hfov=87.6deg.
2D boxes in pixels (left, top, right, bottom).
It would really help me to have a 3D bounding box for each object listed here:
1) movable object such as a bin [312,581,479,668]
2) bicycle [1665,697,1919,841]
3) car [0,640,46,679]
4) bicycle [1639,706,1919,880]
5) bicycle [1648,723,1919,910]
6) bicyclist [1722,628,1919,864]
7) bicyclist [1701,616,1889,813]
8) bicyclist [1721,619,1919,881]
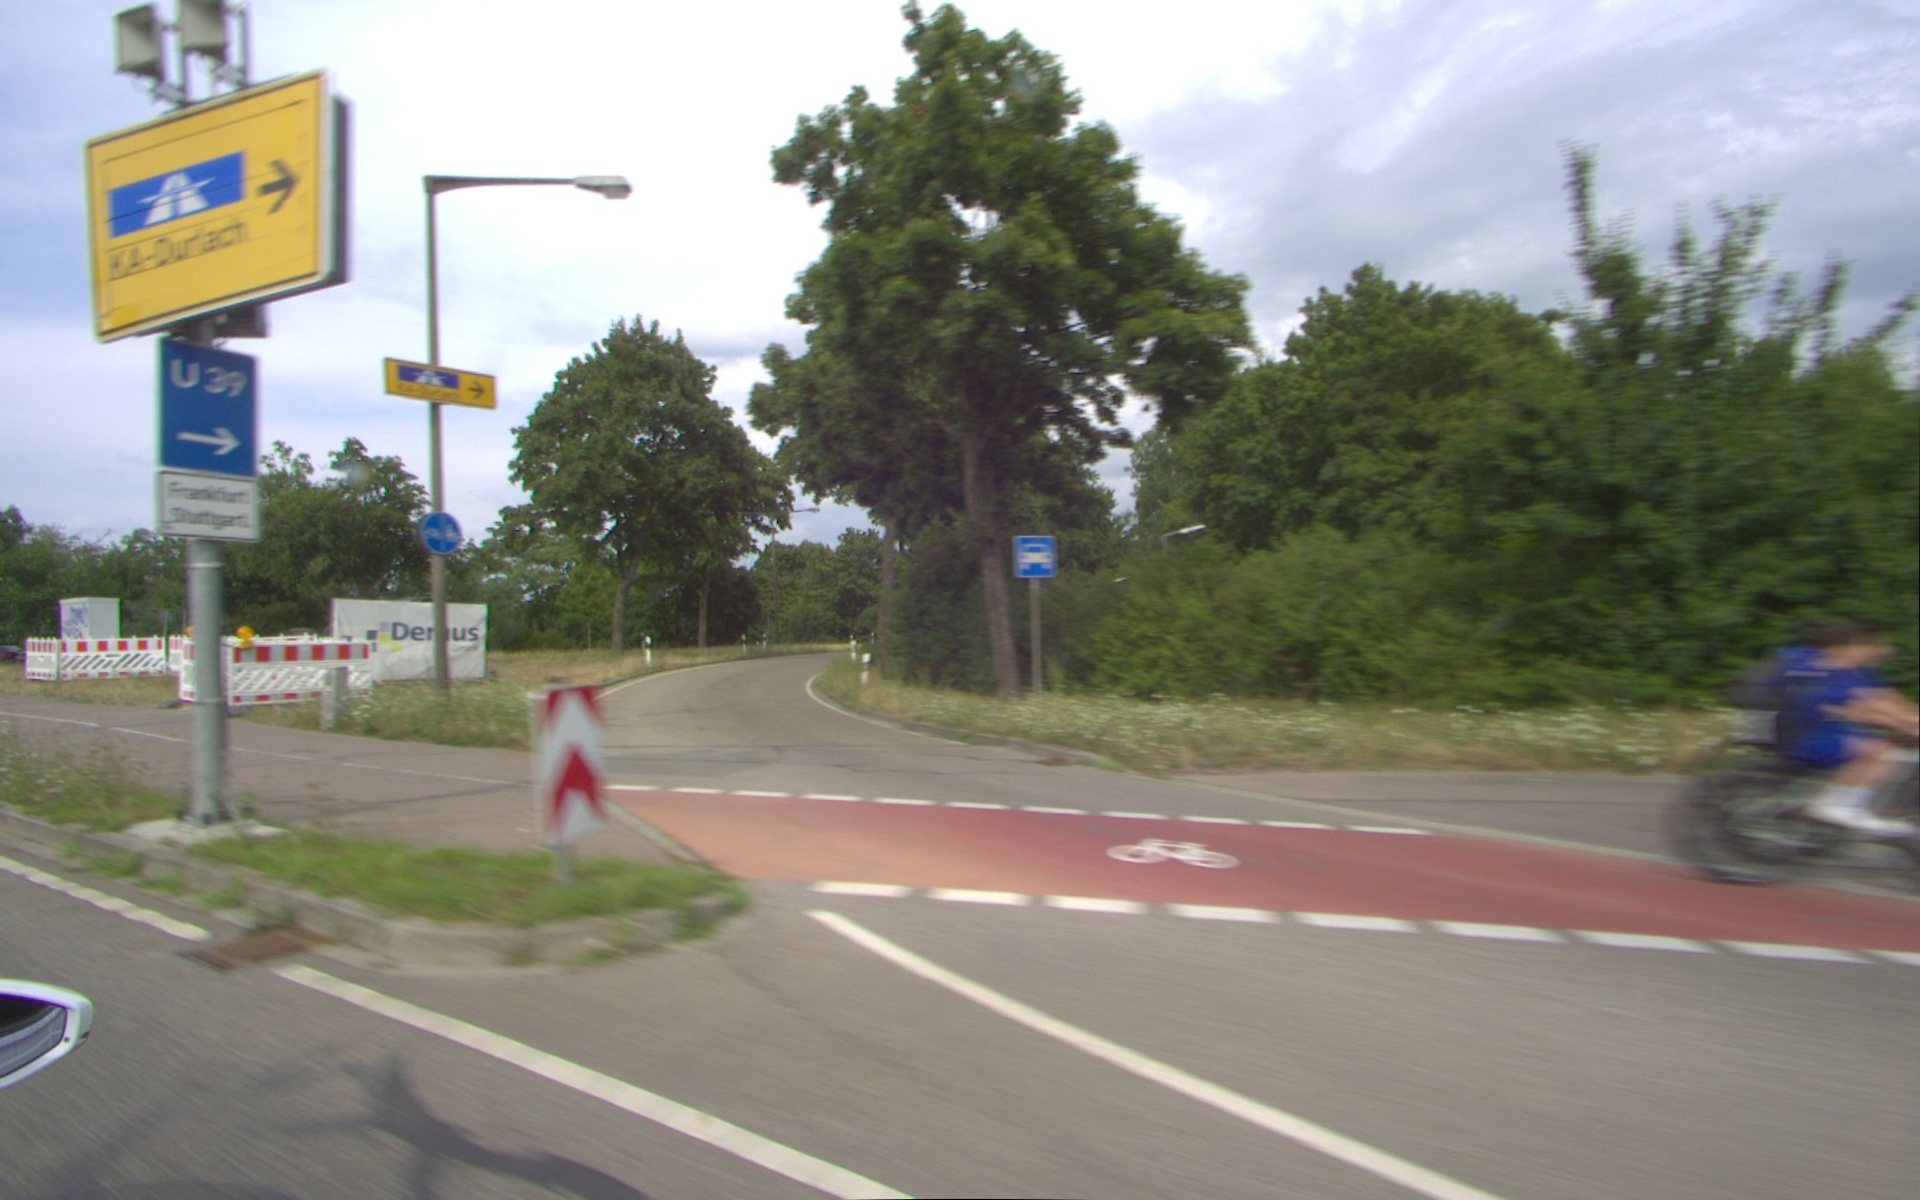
[{"bbox_3d":[-18.890,0.846,33.684,2.076,2.723,4.486,-2,-2,37],"label":"movable object such as a bin"},{"bbox_3d":[6.863,1.337,8.117,1.756,1.019,0.620,-1,1,19],"label":"bicycle"},{"bbox_3d":[-38.390,2.307,38.781,4.039,1.413,1.734,0,0,-13],"label":"car"},{"bbox_3d":[6.068,1.316,6.950,2.156,1.050,0.596,0,0,19],"label":"bicycle"},{"bbox_3d":[5.626,1.341,6.269,2.065,1.018,0.621,0,-3,19],"label":"bicycle"},{"bbox_3d":[6.053,0.971,6.992,0.941,1.537,0.742,-1,-1,18],"label":"bicyclist"},{"bbox_3d":[6.746,0.893,8.151,0.941,1.506,0.742,-1,-1,19],"label":"bicyclist"},{"bbox_3d":[5.540,0.900,6.328,0.941,1.537,0.742,-1,-1,19],"label":"bicyclist"}]
